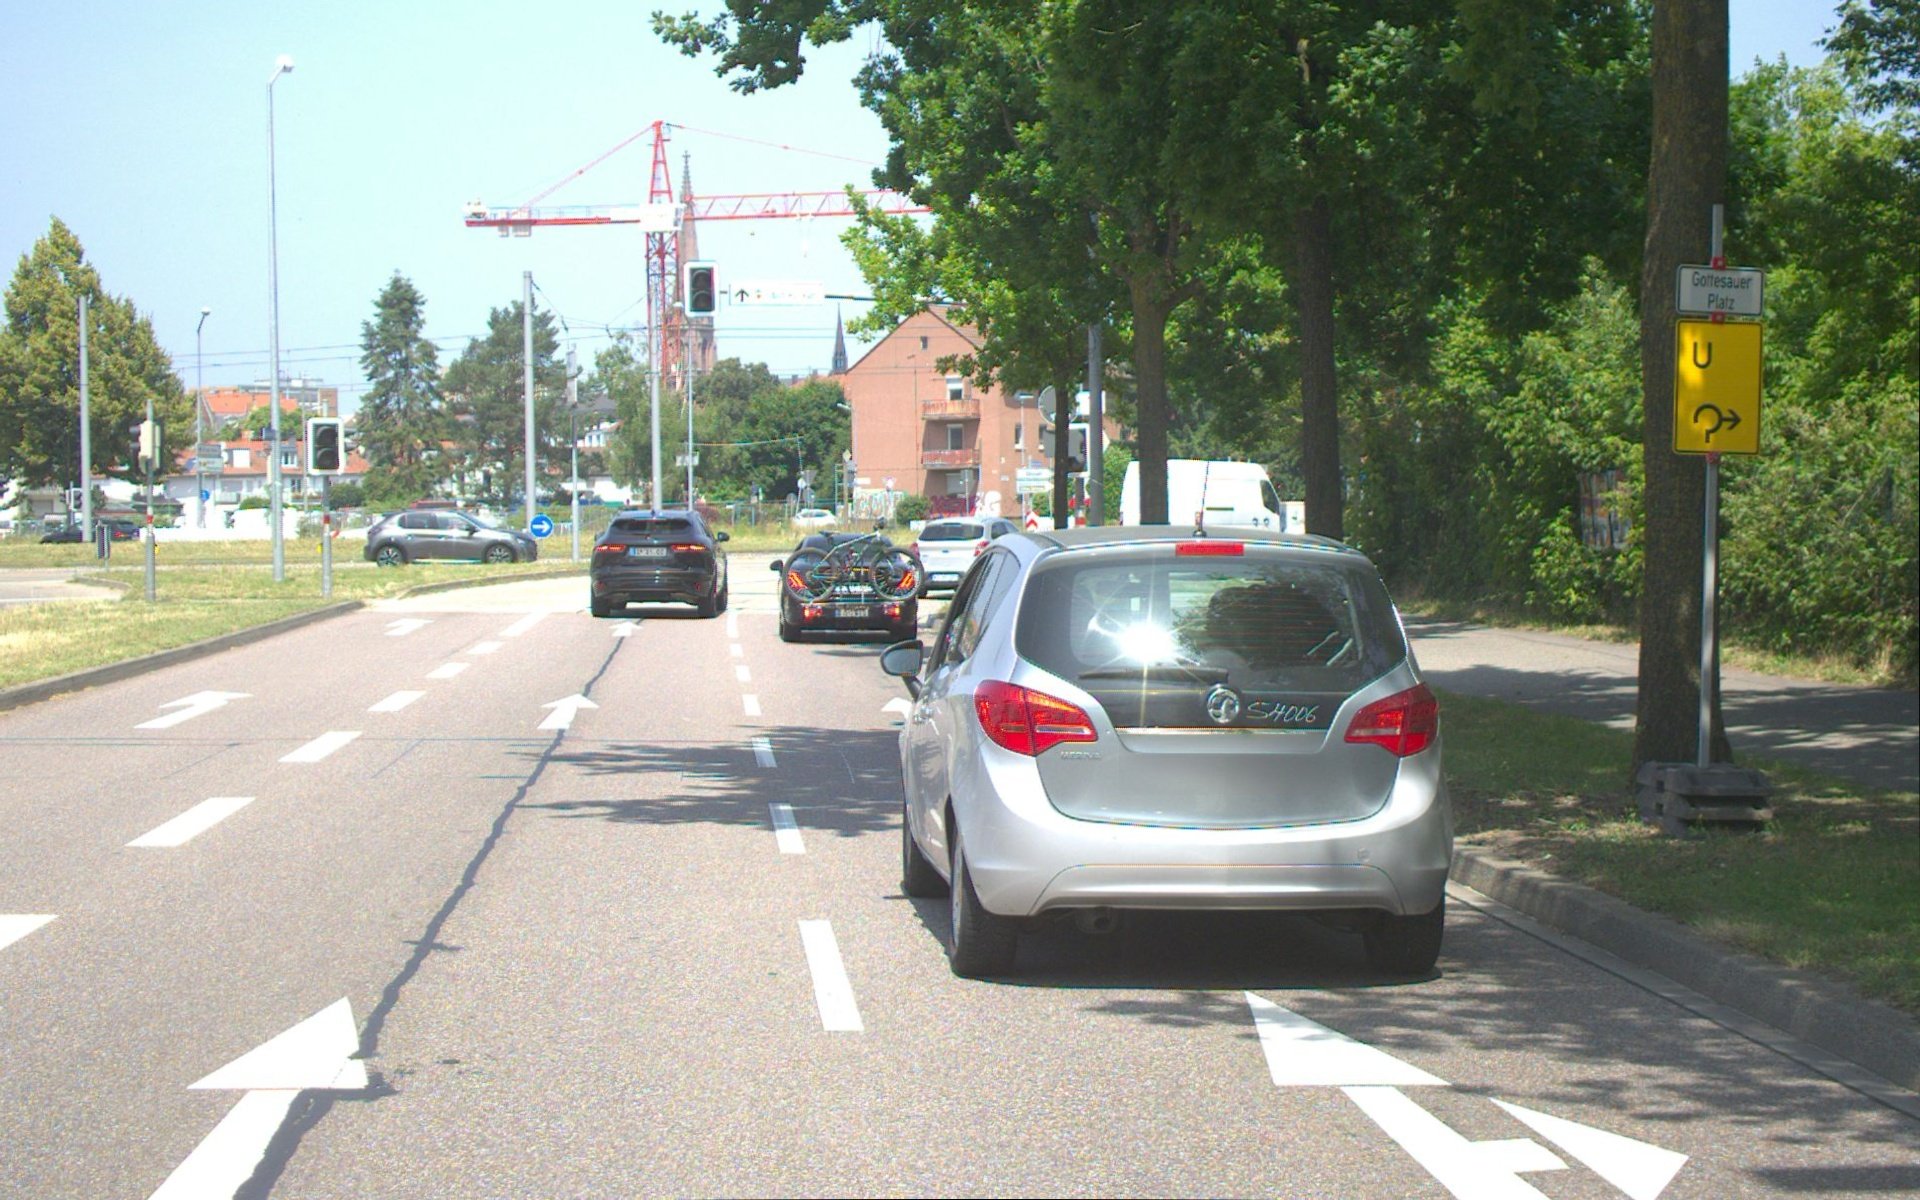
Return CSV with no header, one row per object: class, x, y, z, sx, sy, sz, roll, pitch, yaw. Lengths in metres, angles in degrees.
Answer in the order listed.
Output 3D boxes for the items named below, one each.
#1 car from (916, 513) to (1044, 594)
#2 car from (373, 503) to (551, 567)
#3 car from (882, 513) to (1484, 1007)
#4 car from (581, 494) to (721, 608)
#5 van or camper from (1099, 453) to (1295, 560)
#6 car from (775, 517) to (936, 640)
car,0.401,-0.884,64.016,1.945,1.437,3.999,0,1,7
car,-11.724,-1.531,81.132,3.986,1.448,2.000,-1,1,-3
car,0.698,0.475,13.262,1.792,1.606,3.892,0,2,-4
car,-4.811,-0.802,54.026,1.997,1.683,4.034,0,2,-3
van or camper,5.361,-2.097,77.098,2.497,2.283,4.913,0,2,29
car,-1.396,-0.320,45.502,2.014,1.512,4.461,-1,2,-2
